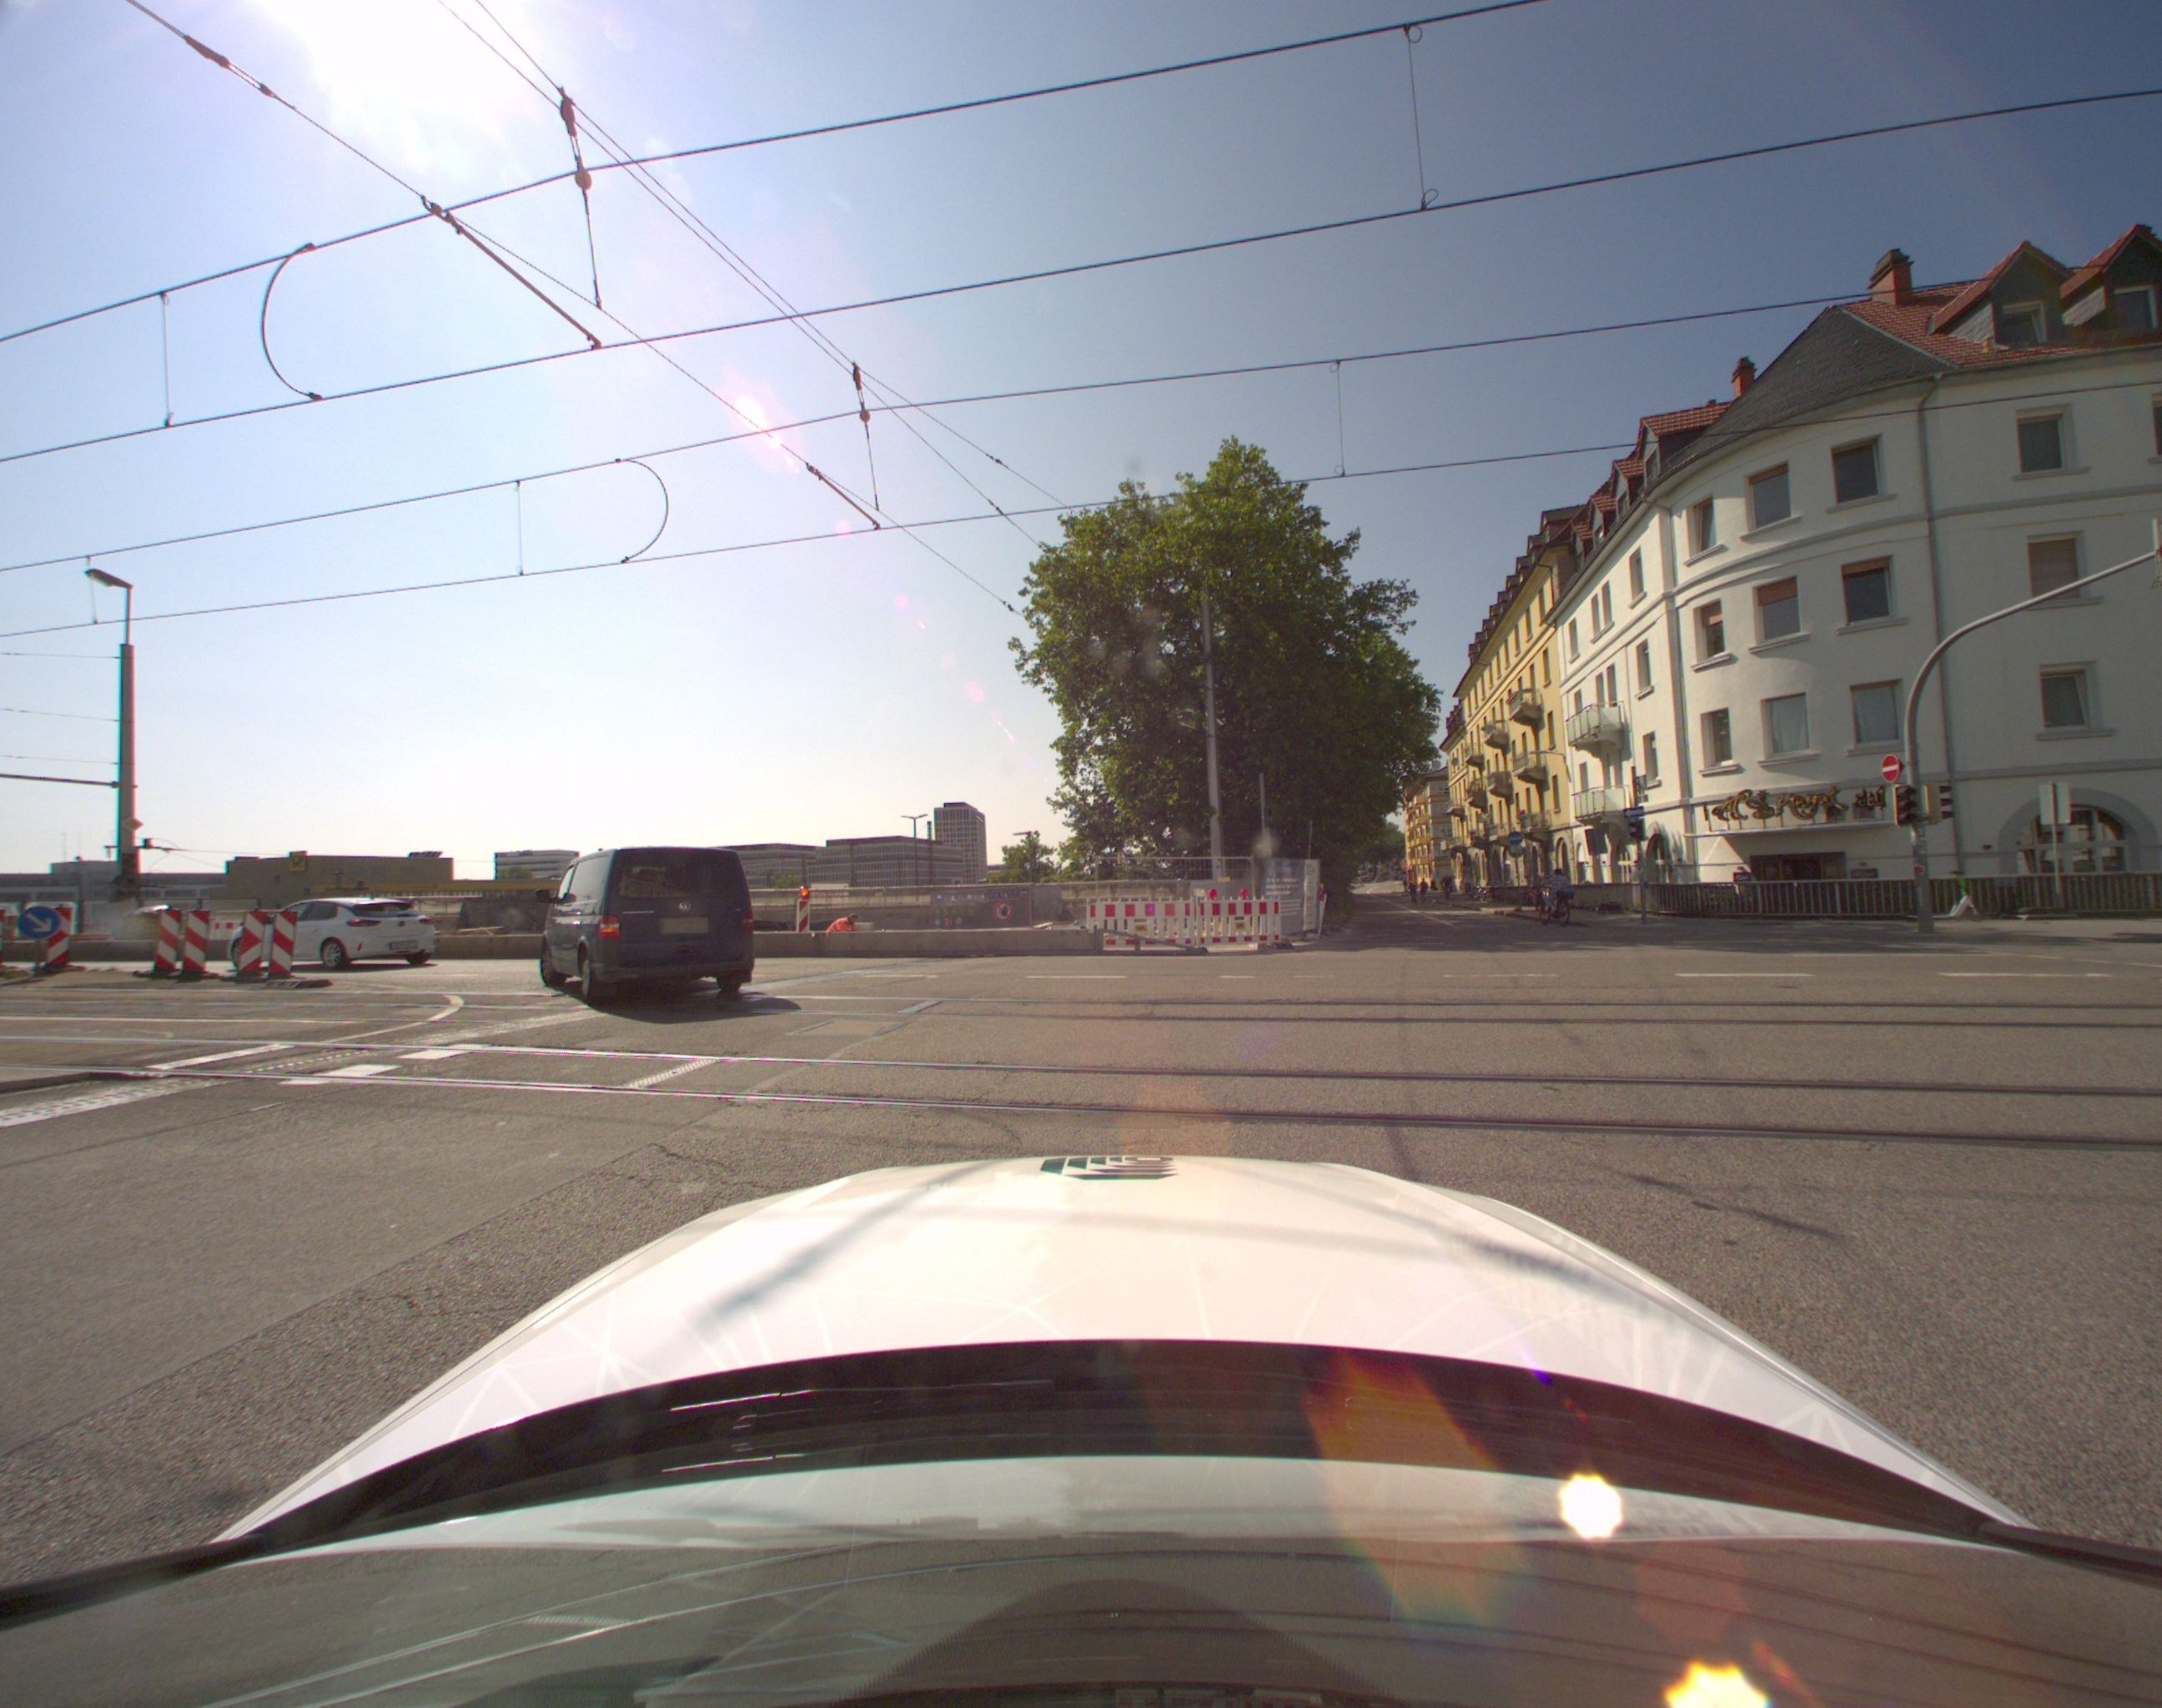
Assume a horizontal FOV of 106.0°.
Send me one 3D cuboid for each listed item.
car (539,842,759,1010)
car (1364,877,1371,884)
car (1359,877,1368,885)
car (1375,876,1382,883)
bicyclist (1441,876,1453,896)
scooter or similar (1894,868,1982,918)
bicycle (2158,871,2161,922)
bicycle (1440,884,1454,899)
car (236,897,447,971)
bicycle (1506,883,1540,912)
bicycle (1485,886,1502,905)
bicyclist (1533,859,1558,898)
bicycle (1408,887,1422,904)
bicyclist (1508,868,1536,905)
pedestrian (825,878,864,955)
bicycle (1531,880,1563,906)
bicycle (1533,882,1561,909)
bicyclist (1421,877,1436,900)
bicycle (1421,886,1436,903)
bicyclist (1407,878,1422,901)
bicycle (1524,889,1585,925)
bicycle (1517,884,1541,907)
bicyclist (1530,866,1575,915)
[{"bbox_3d":[-6.166,0.868,11.385,1.831,1.906,4.006,-1,-1,-41],"label":"car"},{"bbox_3d":[73.174,6.731,207.935,1.613,1.623,3.712,-2,-1,18],"label":"car"},{"bbox_3d":[60.899,5.833,175.660,1.613,1.623,3.712,-2,-1,18],"label":"car"},{"bbox_3d":[75.816,6.599,207.407,1.613,1.623,3.712,-2,-1,18],"label":"car"},{"bbox_3d":[29.024,2.535,64.592,0.830,1.538,1.029,-2,-3,21],"label":"bicyclist"},{"bbox_3d":[19.507,0.900,18.566,1.288,1.118,0.341,-3,-2,31],"label":"scooter or similar"},{"bbox_3d":[22.261,0.820,15.523,1.887,1.020,0.827,-3,-2,35],"label":"bicycle"},{"bbox_3d":[29.072,3.000,64.671,0.830,1.137,2.873,-2,-3,21],"label":"bicycle"},{"bbox_3d":[-15.521,1.659,17.144,3.375,1.405,1.730,-2,-3,16],"label":"car"},{"bbox_3d":[18.292,1.801,33.768,0.830,1.137,2.873,-2,-3,21],"label":"bicycle"},{"bbox_3d":[26.055,2.614,51.475,0.674,1.075,2.304,-2,-2,20],"label":"bicycle"},{"bbox_3d":[18.958,0.986,33.265,0.702,1.550,0.789,-5,-2,22],"label":"bicyclist"},{"bbox_3d":[22.772,2.815,55.597,0.830,1.137,2.873,-2,-3,22],"label":"bicycle"},{"bbox_3d":[18.246,1.332,33.697,0.830,1.508,0.957,-2,-3,21],"label":"bicyclist"},{"bbox_3d":[-5.857,1.526,20.205,0.863,1.795,0.817,-2,-1,-16],"label":"pedestrian"},{"bbox_3d":[21.561,1.788,37.717,0.830,1.137,2.873,-2,-3,21],"label":"bicycle"},{"bbox_3d":[19.057,1.669,33.351,0.702,0.991,1.829,-5,-2,22],"label":"bicycle"},{"bbox_3d":[24.540,2.429,57.524,0.830,1.538,1.029,-2,-3,21],"label":"bicyclist"},{"bbox_3d":[24.520,2.831,57.442,0.830,1.137,2.873,-2,-3,21],"label":"bicycle"},{"bbox_3d":[22.754,2.411,55.573,0.830,1.538,1.029,-2,-3,21],"label":"bicyclist"},{"bbox_3d":[13.988,1.537,24.135,0.859,0.990,2.253,-2,-2,11],"label":"bicycle"},{"bbox_3d":[22.793,2.092,41.444,0.674,1.075,2.304,-2,-2,20],"label":"bicycle"},{"bbox_3d":[13.978,1.089,24.159,0.859,1.416,0.920,-2,-2,11],"label":"bicyclist"}]
